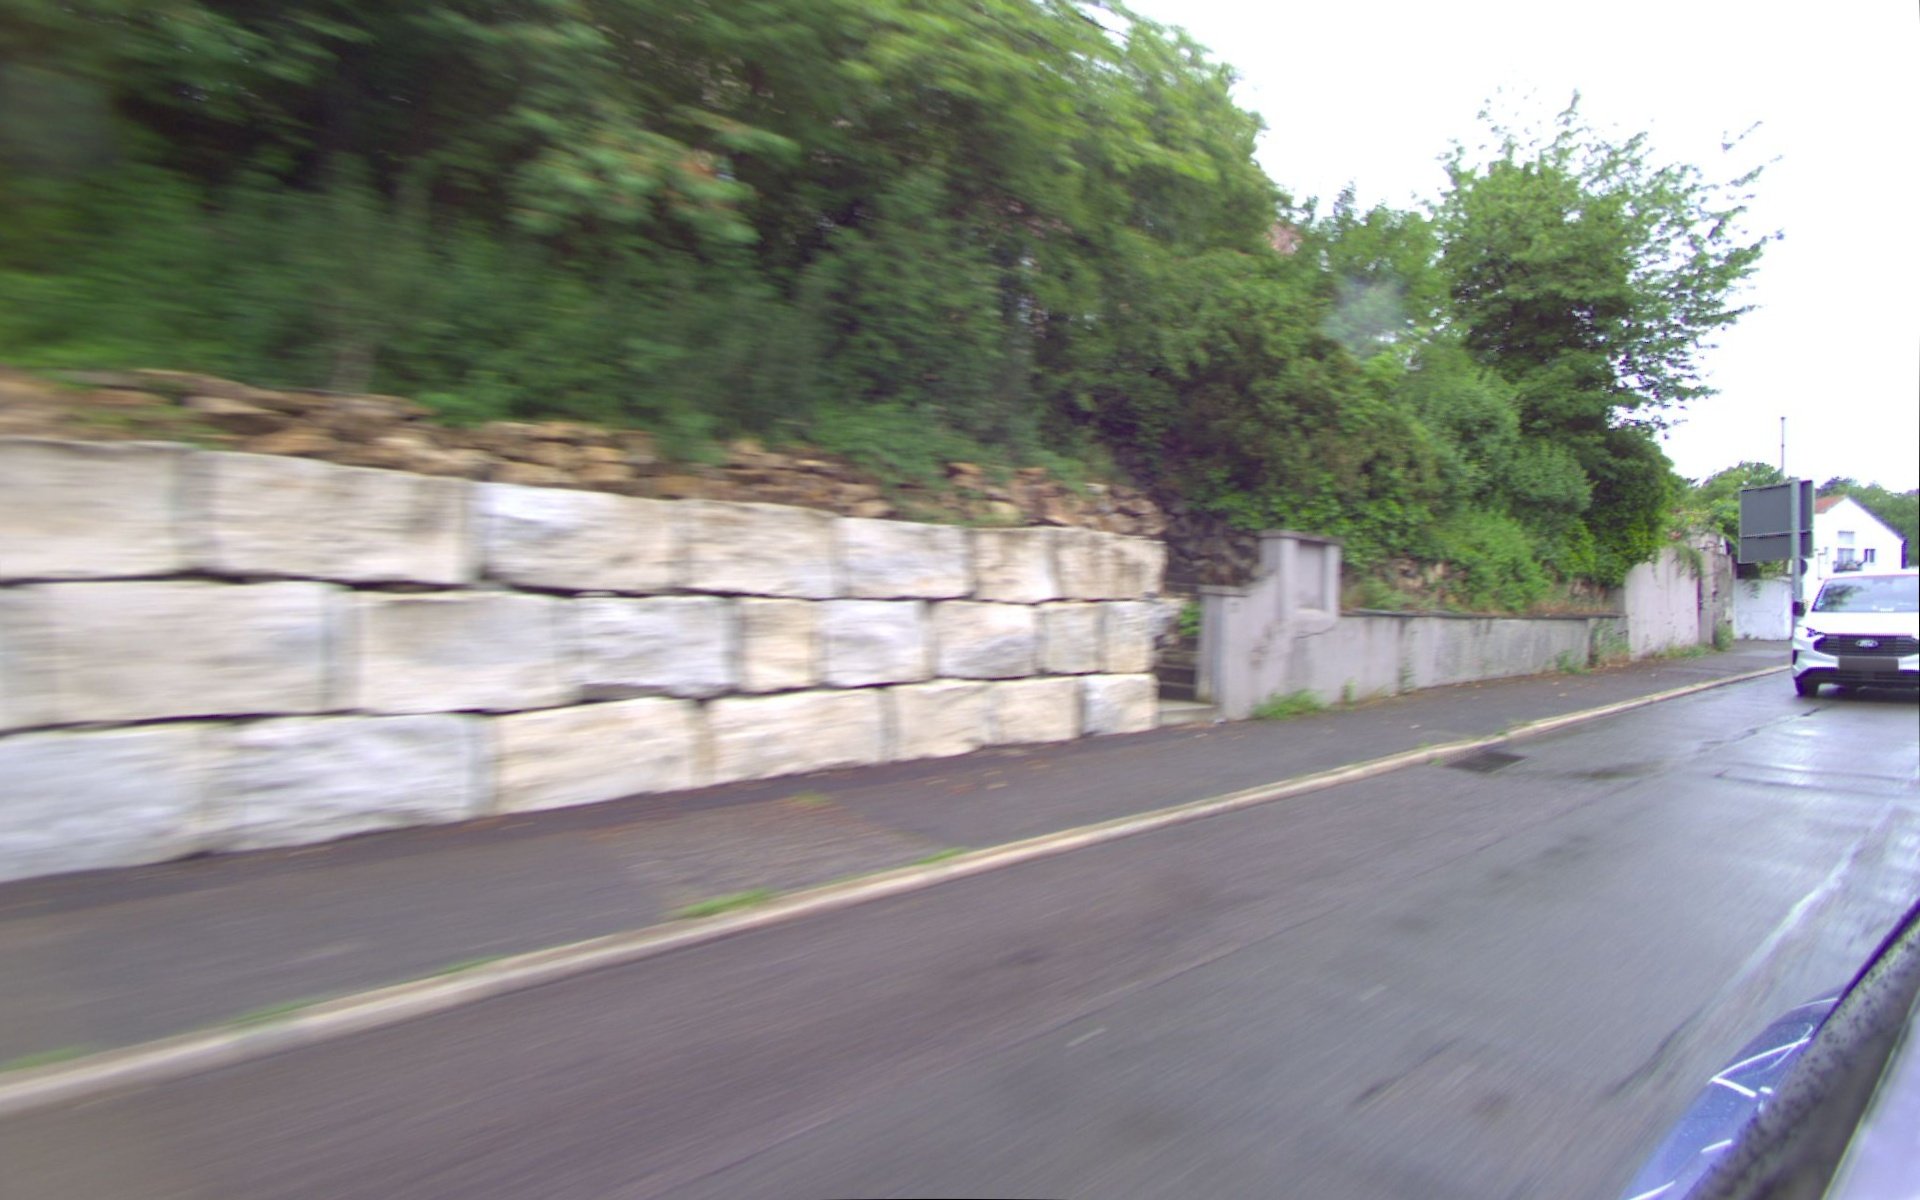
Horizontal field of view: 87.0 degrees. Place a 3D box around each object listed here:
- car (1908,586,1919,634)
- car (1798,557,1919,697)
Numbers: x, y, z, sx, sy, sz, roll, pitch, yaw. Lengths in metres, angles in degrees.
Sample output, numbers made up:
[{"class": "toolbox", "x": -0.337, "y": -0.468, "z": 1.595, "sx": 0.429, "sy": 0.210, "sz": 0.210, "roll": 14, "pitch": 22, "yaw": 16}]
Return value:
[{"class": "car", "x": 32.183, "y": 0.289, "z": 32.860, "sx": 4.627, "sy": 1.515, "sz": 1.790, "roll": -1, "pitch": 0, "yaw": -44}, {"class": "car", "x": 14.999, "y": 0.357, "z": 15.874, "sx": 4.434, "sy": 1.963, "sz": 2.041, "roll": -1, "pitch": 0, "yaw": -40}]
